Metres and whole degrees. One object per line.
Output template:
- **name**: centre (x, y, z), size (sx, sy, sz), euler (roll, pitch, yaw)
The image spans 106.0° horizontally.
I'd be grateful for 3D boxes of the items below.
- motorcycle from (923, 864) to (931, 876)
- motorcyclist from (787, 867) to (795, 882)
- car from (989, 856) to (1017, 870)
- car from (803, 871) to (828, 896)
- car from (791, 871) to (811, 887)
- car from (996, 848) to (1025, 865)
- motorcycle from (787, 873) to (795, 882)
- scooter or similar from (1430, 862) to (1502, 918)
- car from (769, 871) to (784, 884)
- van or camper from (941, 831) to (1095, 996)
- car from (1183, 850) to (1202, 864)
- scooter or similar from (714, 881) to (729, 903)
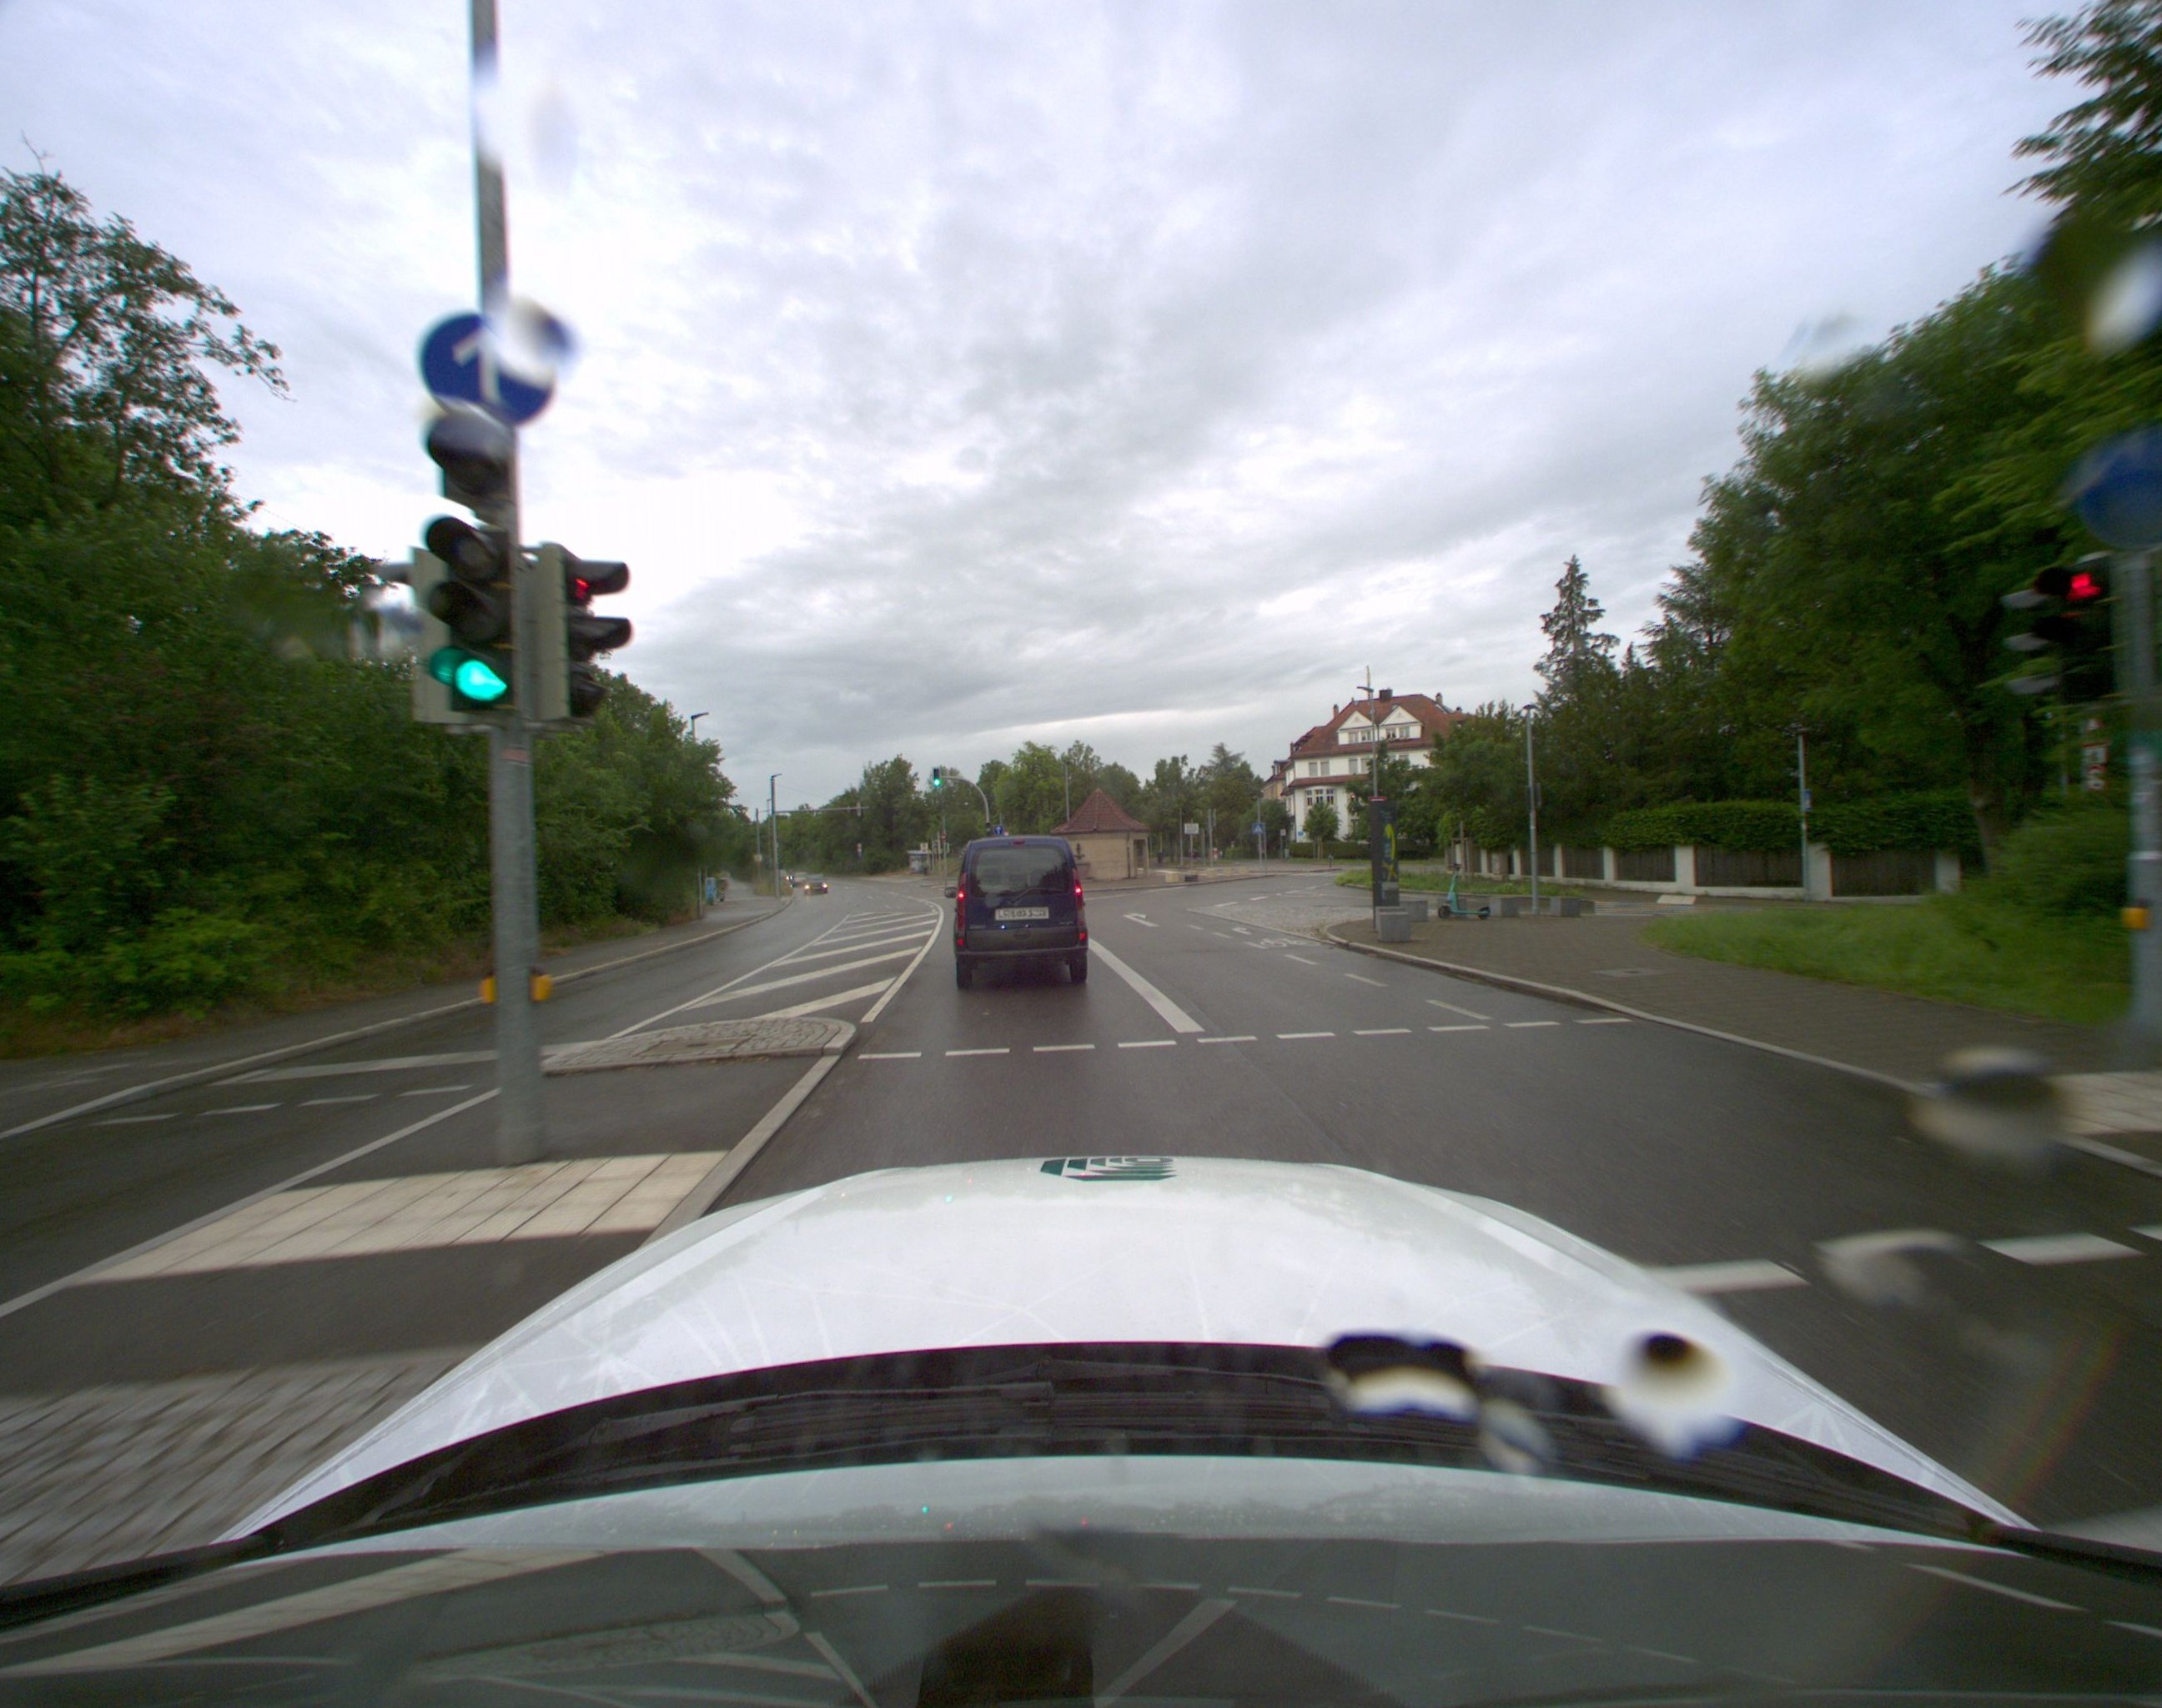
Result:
- **motorcycle**: centre (-16.303, 1.685, 86.267), size (0.588, 1.289, 1.534), euler (-3, 0, -7)
- **motorcyclist**: centre (-33.546, 2.388, 94.155), size (0.749, 1.632, 0.920), euler (-4, 0, -24)
- **car**: centre (-8.535, 0.994, 88.596), size (2.001, 1.480, 4.254), euler (-1, -1, -21)
- **car**: centre (-19.797, 2.170, 60.725), size (1.581, 1.730, 3.751), euler (-4, 0, -18)
- **car**: centre (-28.050, 2.480, 81.624), size (1.746, 1.352, 4.182), euler (-4, 0, -19)
- **car**: centre (-7.302, 0.290, 84.346), size (2.000, 1.662, 3.973), euler (0, -1, -20)
- **motorcycle**: centre (-33.500, 2.705, 94.086), size (0.597, 1.050, 1.982), euler (-4, 0, -24)
- **scooter or similar**: centre (8.425, 0.774, 17.820), size (1.346, 1.207, 0.523), euler (0, -1, -6)
- **car**: centre (-41.931, 3.197, 112.068), size (1.796, 1.581, 4.530), euler (-4, 0, -20)
- **van or camper**: centre (-0.884, 0.695, 11.405), size (1.710, 1.826, 3.993), euler (-2, 0, -5)
- **car**: centre (16.370, 0.417, 119.876), size (1.990, 2.013, 3.994), euler (-2, 0, -4)
- **scooter or similar**: centre (-20.907, 2.212, 47.330), size (0.518, 1.212, 1.462), euler (-2, 0, -14)
